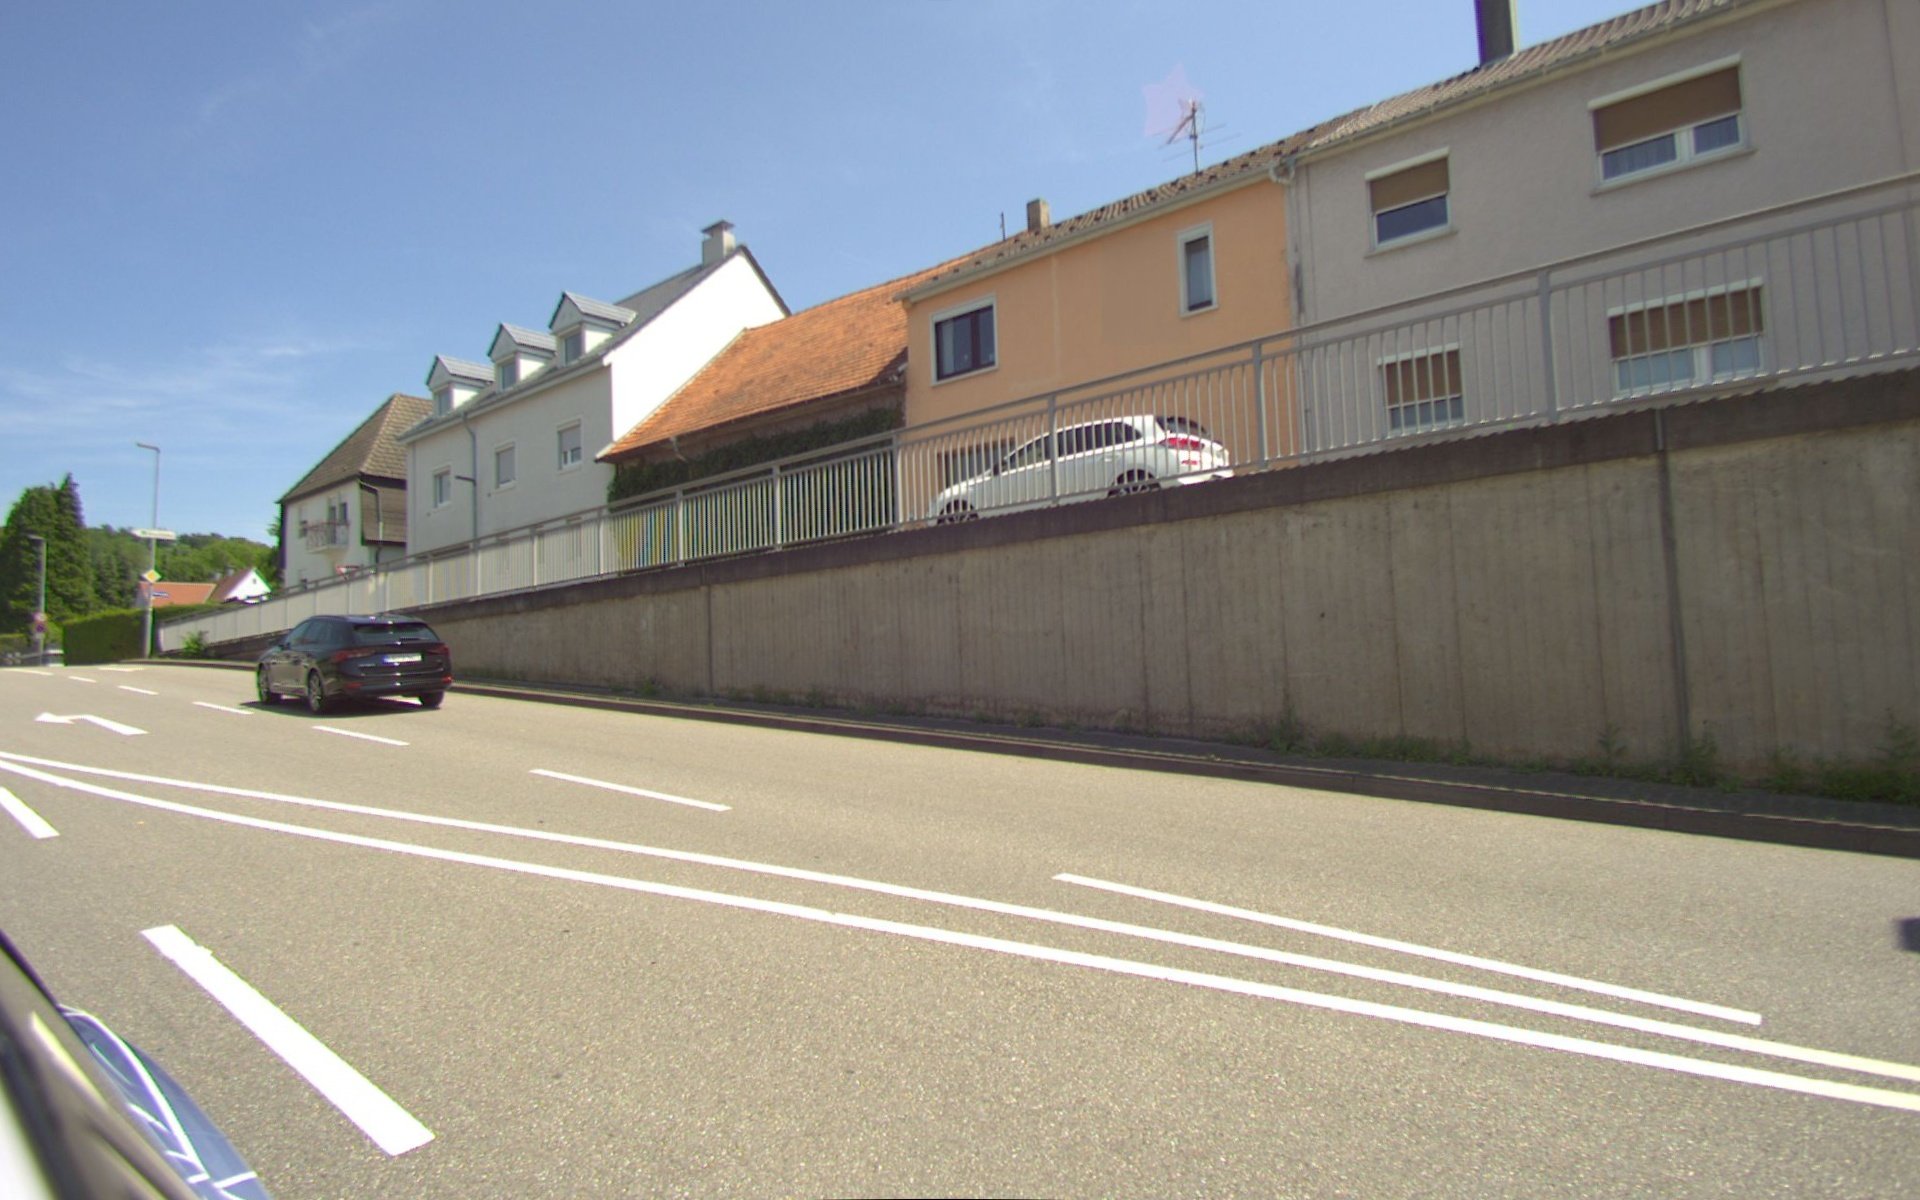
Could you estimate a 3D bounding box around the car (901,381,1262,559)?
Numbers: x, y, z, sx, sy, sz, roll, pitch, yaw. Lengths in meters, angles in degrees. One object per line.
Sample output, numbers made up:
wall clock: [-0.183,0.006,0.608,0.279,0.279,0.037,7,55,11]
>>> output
car: [1.464,-1.512,13.162,4.304,1.473,1.795,-6,-3,39]

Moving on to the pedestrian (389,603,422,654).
pedestrian: [-19.365,0.996,35.356,0.855,1.742,0.720,-2,-2,37]

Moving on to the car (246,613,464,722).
car: [-9.731,0.983,16.141,4.366,1.500,1.742,-1,-1,41]
